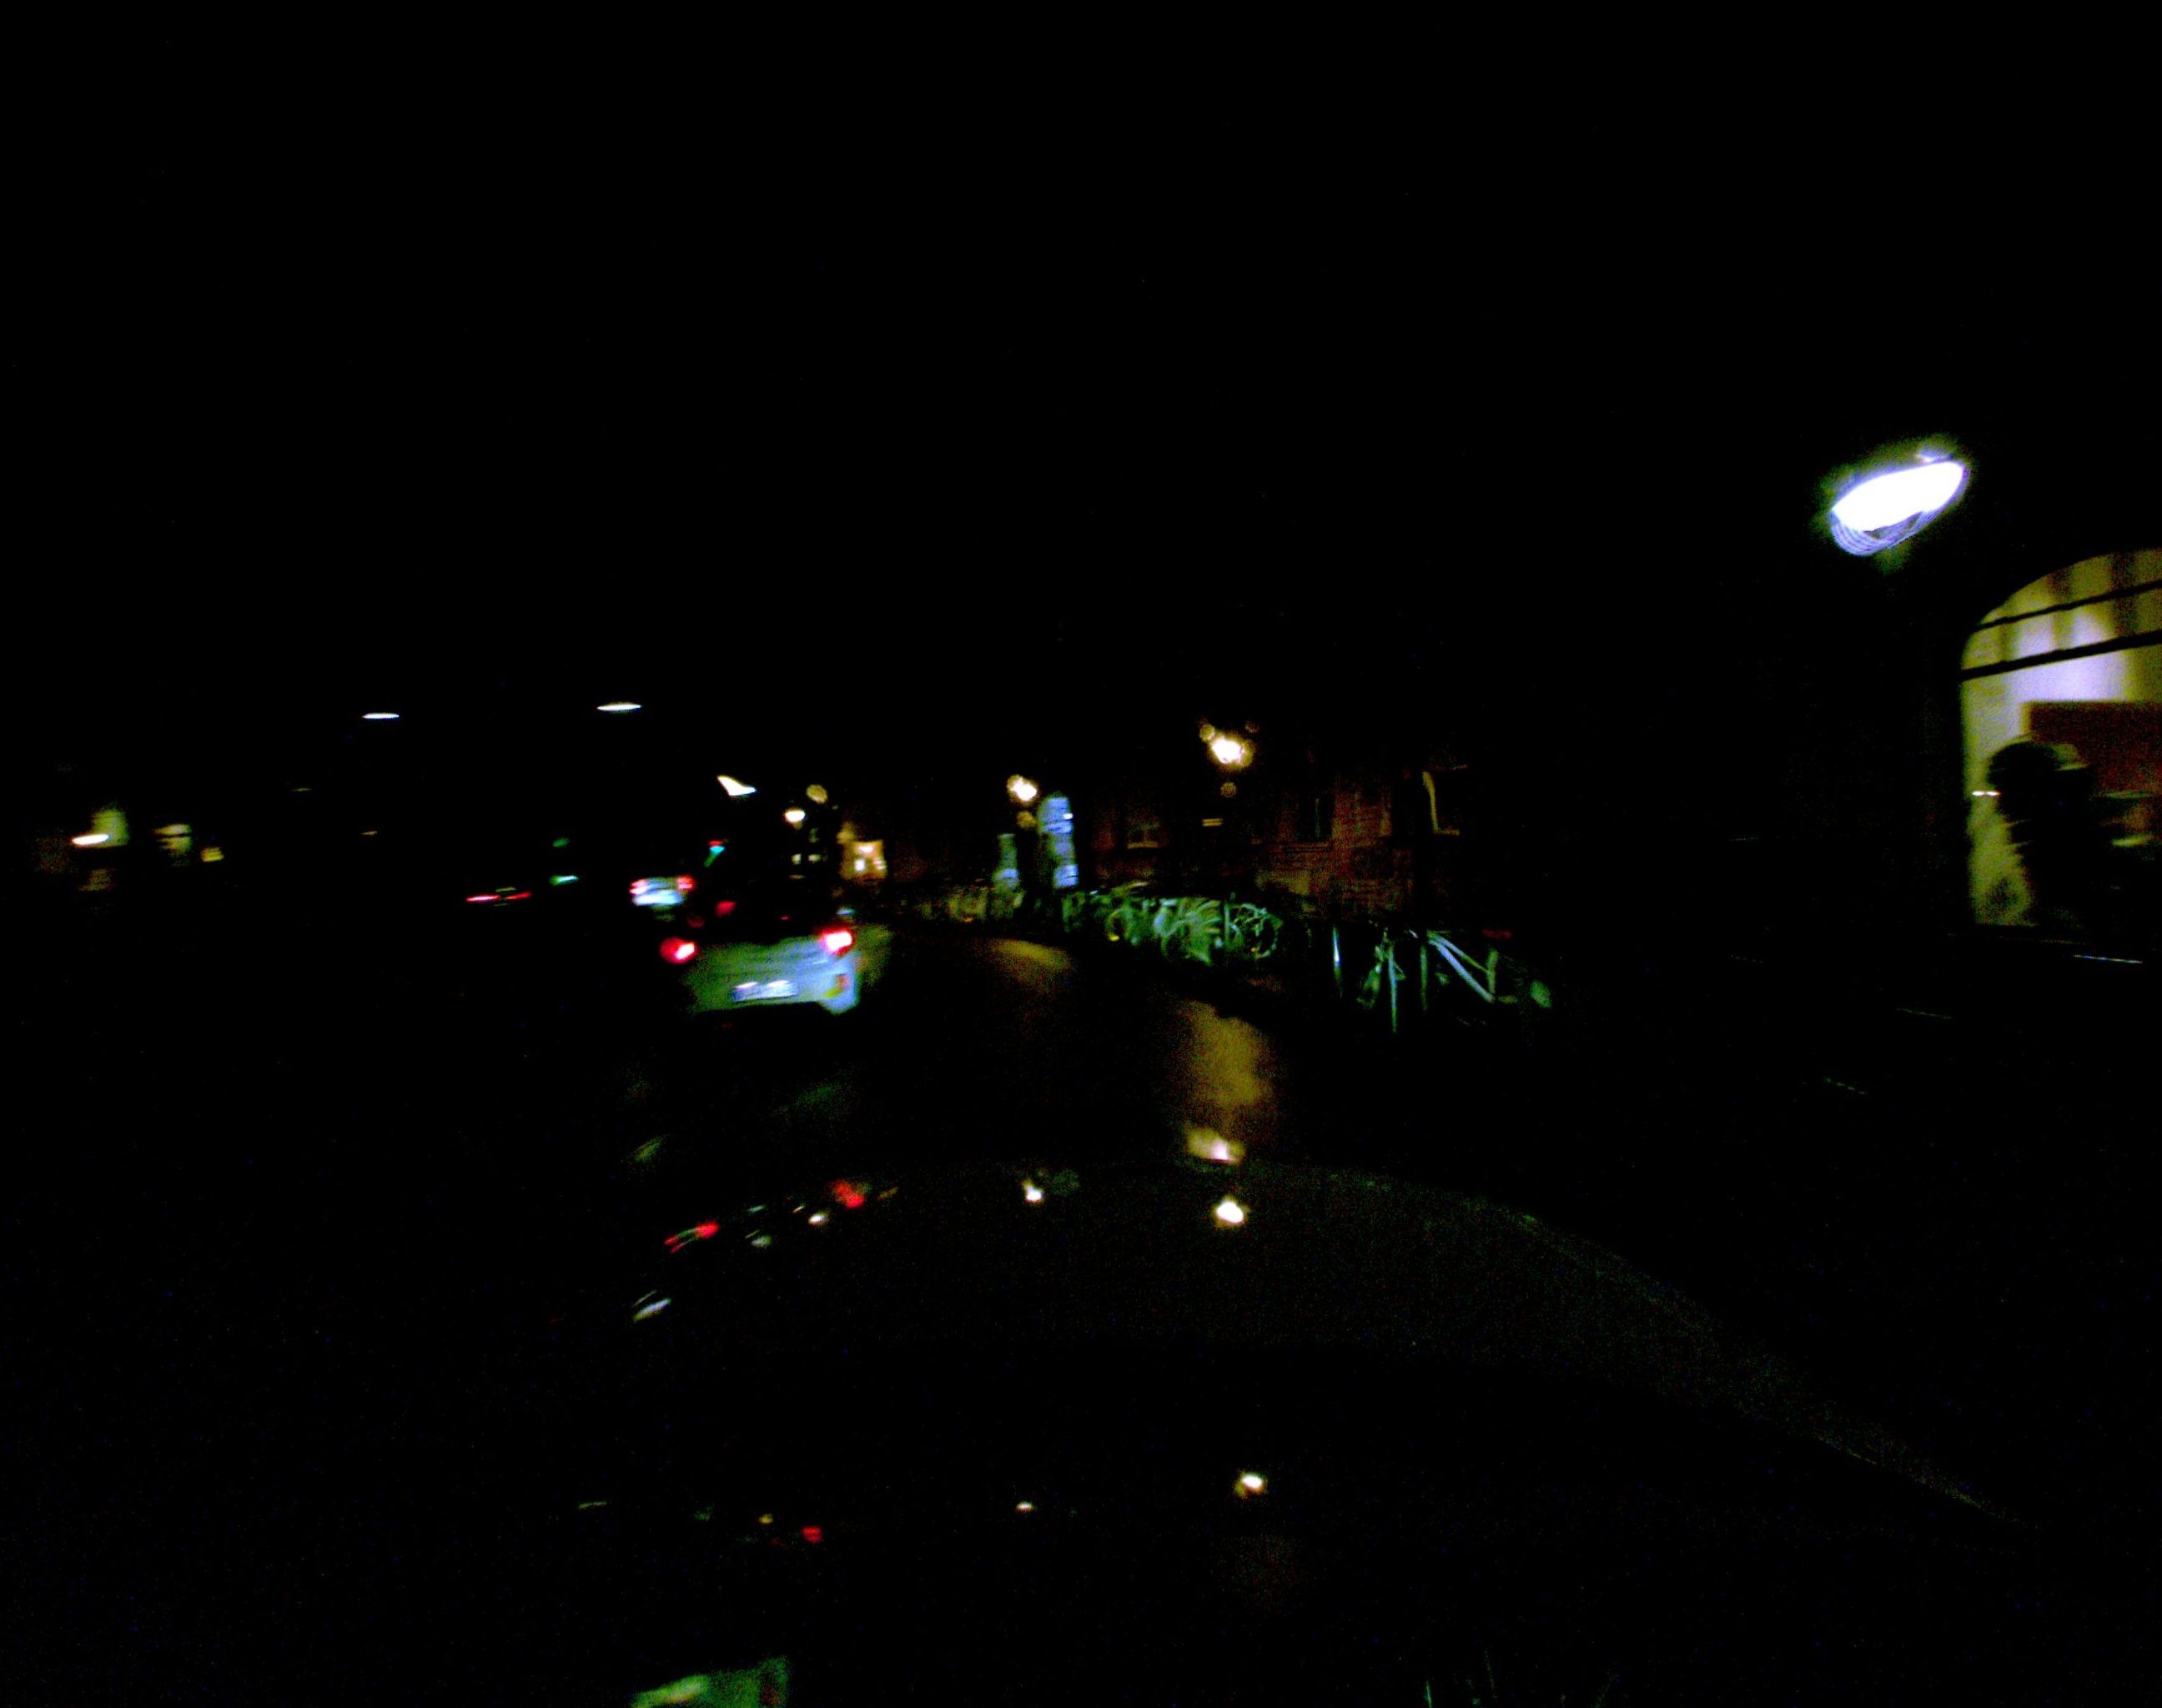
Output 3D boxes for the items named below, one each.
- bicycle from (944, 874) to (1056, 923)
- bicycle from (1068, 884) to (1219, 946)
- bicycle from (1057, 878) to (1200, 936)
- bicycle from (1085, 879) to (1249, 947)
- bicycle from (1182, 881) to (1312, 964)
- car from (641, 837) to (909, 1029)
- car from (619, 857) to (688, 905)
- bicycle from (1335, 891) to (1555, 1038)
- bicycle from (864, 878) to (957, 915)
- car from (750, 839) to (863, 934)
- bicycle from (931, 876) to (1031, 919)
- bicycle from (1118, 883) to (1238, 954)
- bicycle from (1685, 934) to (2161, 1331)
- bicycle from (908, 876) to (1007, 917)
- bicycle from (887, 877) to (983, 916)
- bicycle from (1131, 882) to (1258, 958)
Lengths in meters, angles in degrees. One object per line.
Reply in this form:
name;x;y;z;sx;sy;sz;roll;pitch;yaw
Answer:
bicycle;-2.085;1.117;20.940;2.771;1.129;0.722;-1;-1;-14
bicycle;1.179;1.128;15.453;2.771;1.026;0.722;-1;0;-14
bicycle;0.947;1.036;16.281;2.771;1.026;0.722;-1;0;-14
bicycle;1.514;1.005;14.272;2.771;1.026;0.722;-1;0;-14
bicycle;2.320;0.944;11.425;1.730;1.059;0.449;-1;0;-10
car;-2.994;0.743;8.759;1.727;1.614;3.456;-1;-2;-3
car;-16.681;1.065;31.712;2.007;1.728;3.958;1;-3;-33
bicycle;2.967;0.872;6.671;1.658;1.059;0.449;-1;0;-10
bicycle;-5.324;1.307;25.597;2.789;1.026;0.717;-1;-1;-37
car;-5.837;0.683;17.166;2.001;1.728;3.971;0;-3;-21
bicycle;-2.701;1.152;22.305;2.791;1.026;0.716;-1;-1;-42
bicycle;1.612;1.050;13.541;1.933;1.059;0.448;-1;0;-15
bicycle;2.981;0.860;2.770;1.658;1.059;0.449;-1;0;-10
bicycle;-3.501;1.195;23.315;2.789;1.026;0.717;-1;-1;-37
bicycle;-4.355;1.245;24.422;2.789;1.026;0.717;-1;-1;-37
bicycle;1.783;1.015;12.778;1.933;1.059;0.448;-1;0;-15
